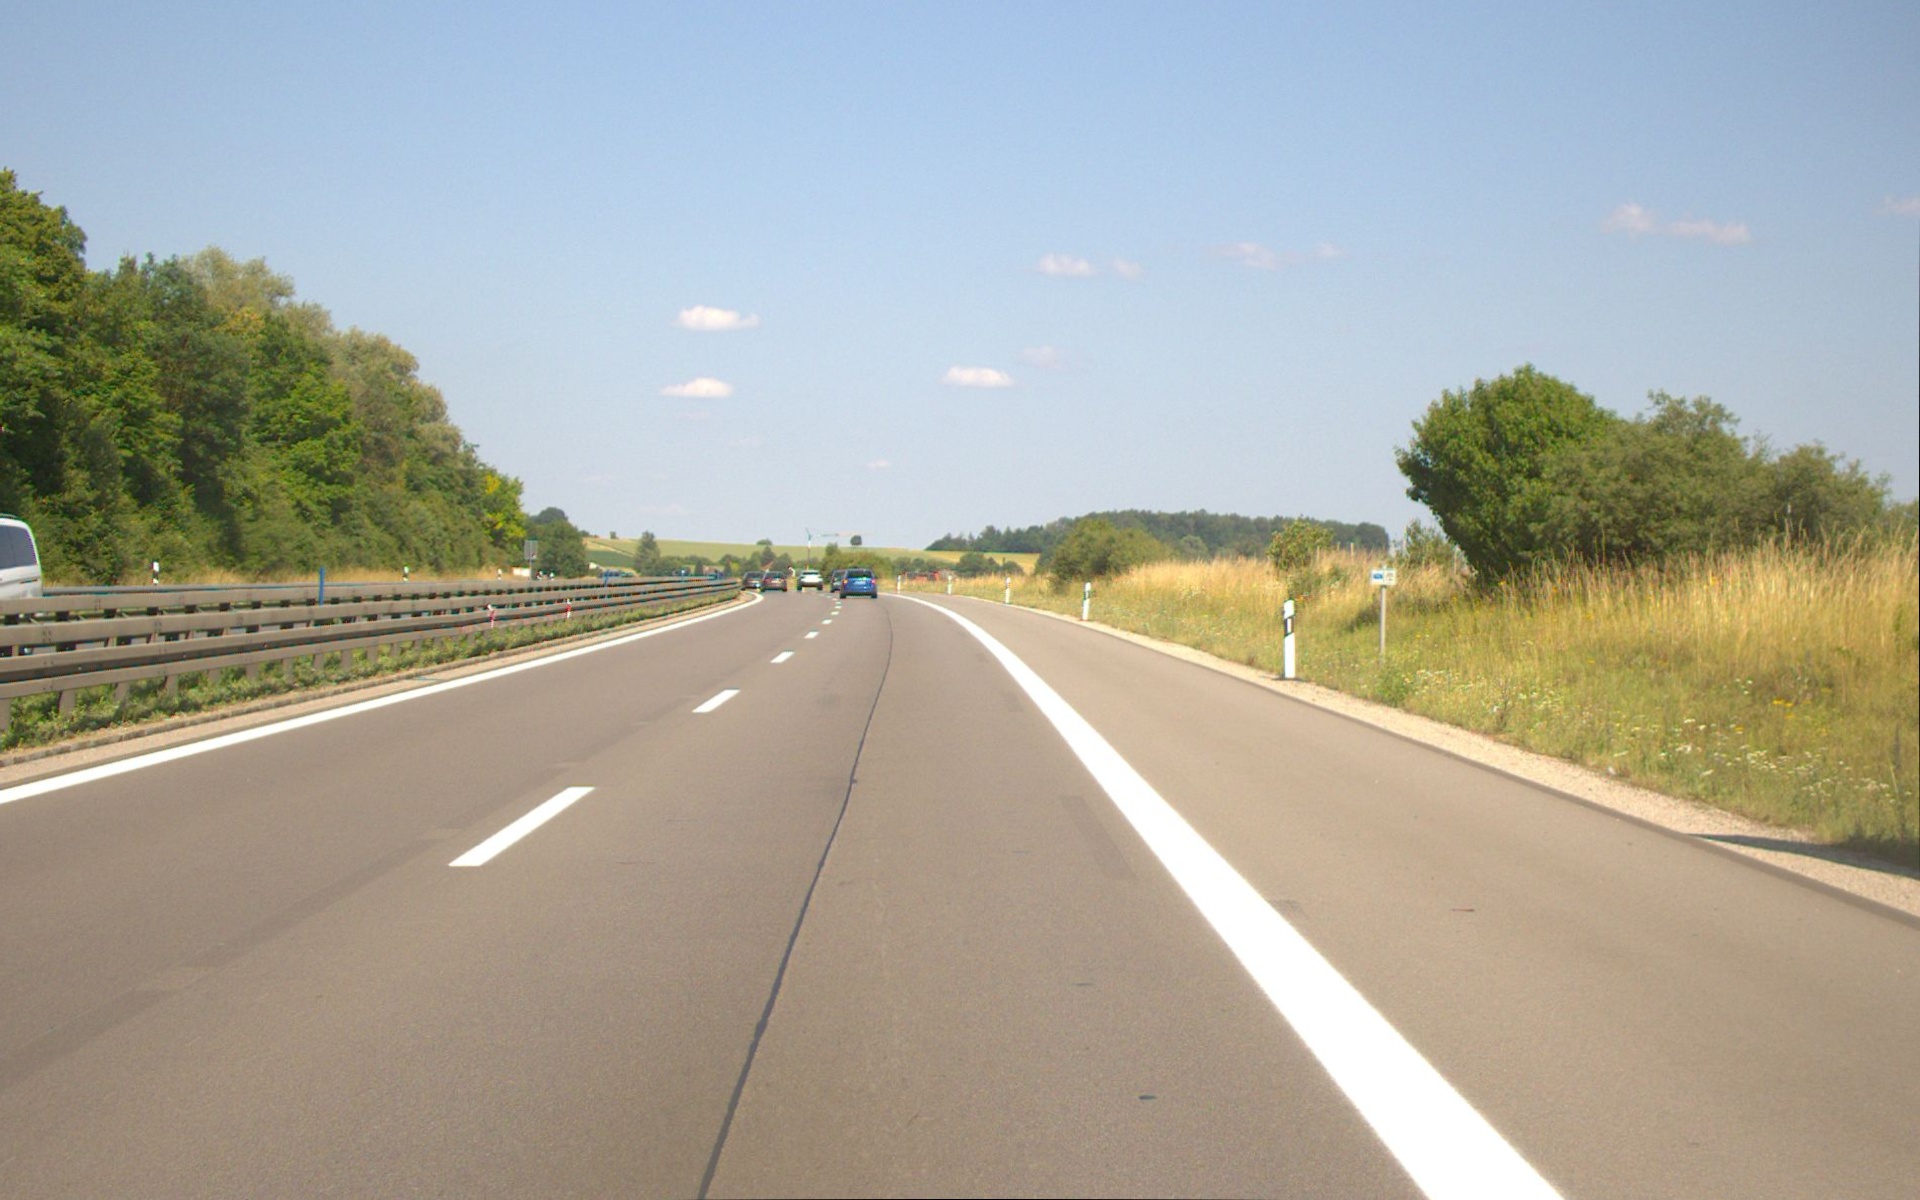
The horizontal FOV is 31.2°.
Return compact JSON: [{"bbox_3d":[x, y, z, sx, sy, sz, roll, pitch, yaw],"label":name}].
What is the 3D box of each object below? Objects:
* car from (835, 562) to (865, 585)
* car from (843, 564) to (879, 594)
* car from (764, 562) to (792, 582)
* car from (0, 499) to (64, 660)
[{"bbox_3d":[-7.007,-1.663,219.265,1.829,1.448,3.592,0,0,0],"label":"car"},{"bbox_3d":[-4.837,-1.028,168.163,1.676,1.448,3.592,0,0,0],"label":"car"},{"bbox_3d":[-12.908,-1.990,244.099,1.829,1.448,3.592,0,0,0],"label":"car"},{"bbox_3d":[-12.828,-0.277,42.652,1.993,1.983,5.692,1,1,-1],"label":"car"}]
